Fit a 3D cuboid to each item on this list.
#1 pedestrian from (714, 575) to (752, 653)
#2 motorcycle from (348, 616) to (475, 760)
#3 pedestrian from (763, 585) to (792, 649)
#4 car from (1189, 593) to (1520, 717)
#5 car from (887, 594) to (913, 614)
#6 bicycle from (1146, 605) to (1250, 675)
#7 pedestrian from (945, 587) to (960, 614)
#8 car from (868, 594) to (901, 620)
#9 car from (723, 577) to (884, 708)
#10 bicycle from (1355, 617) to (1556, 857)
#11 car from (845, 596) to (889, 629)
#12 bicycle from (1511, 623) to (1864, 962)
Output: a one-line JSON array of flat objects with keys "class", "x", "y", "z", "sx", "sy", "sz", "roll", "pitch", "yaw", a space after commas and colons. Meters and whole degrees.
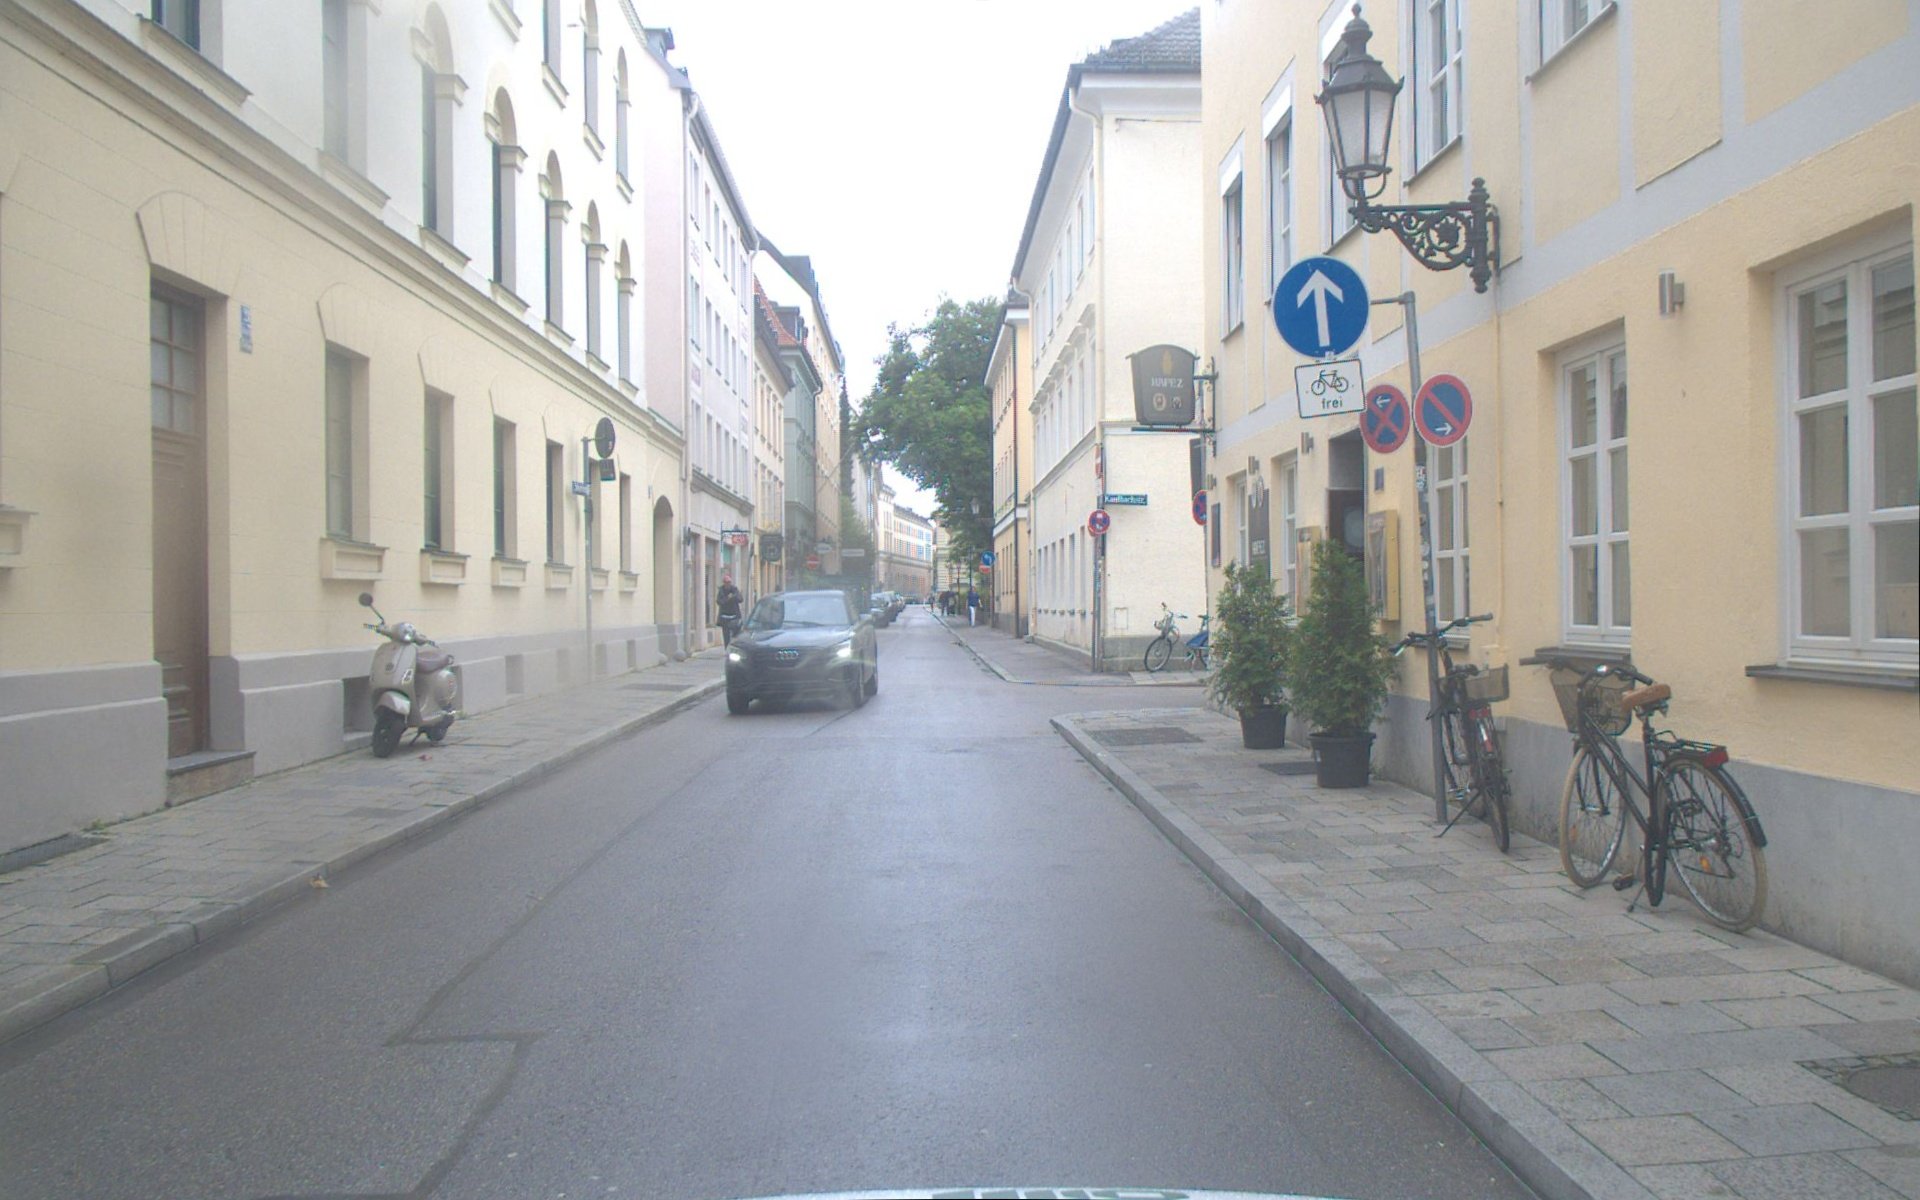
[{"class": "pedestrian", "x": -5.316, "y": 0.316, "z": 38.788, "sx": 0.793, "sy": 1.786, "sz": 0.989, "roll": 1, "pitch": 1, "yaw": -4}, {"class": "motorcycle", "x": -4.911, "y": 0.757, "z": 14.907, "sx": 0.590, "sy": 1.194, "sz": 1.708, "roll": 0, "pitch": 0, "yaw": -1}, {"class": "pedestrian", "x": -5.041, "y": 0.455, "z": 45.700, "sx": 0.750, "sy": 1.738, "sz": 0.785, "roll": 0, "pitch": 0, "yaw": -4}, {"class": "car", "x": 5.114, "y": 0.691, "z": 21.829, "sx": 3.933, "sy": 1.466, "sz": 1.765, "roll": 1, "pitch": 2, "yaw": 0}, {"class": "car", "x": -4.630, "y": 0.327, "z": 127.924, "sx": 1.742, "sy": 1.492, "sz": 3.542, "roll": 1, "pitch": 0, "yaw": 1}, {"class": "bicycle", "x": 4.152, "y": 0.688, "z": 28.936, "sx": 1.722, "sy": 1.164, "sz": 0.586, "roll": -1, "pitch": 2, "yaw": -2}, {"class": "pedestrian", "x": -0.487, "y": 0.024, "z": 112.378, "sx": 0.995, "sy": 1.833, "sz": 1.349, "roll": 1, "pitch": 0, "yaw": -1}, {"class": "car", "x": -4.456, "y": 0.414, "z": 98.195, "sx": 1.742, "sy": 1.492, "sz": 3.542, "roll": 1, "pitch": 0, "yaw": 1}, {"class": "car", "x": -2.040, "y": 0.520, "z": 22.590, "sx": 1.775, "sy": 1.621, "sz": 4.000, "roll": 0, "pitch": 0, "yaw": 1}, {"class": "bicycle", "x": 2.699, "y": 0.697, "z": 9.175, "sx": 0.554, "sy": 1.156, "sz": 1.684, "roll": -2, "pitch": 0, "yaw": -1}, {"class": "car", "x": -4.384, "y": 0.560, "z": 78.374, "sx": 1.742, "sy": 1.492, "sz": 3.663, "roll": 1, "pitch": 0, "yaw": 1}, {"class": "bicycle", "x": 2.956, "y": 0.708, "z": 6.962, "sx": 0.554, "sy": 1.156, "sz": 1.987, "roll": -2, "pitch": 0, "yaw": -1}]
